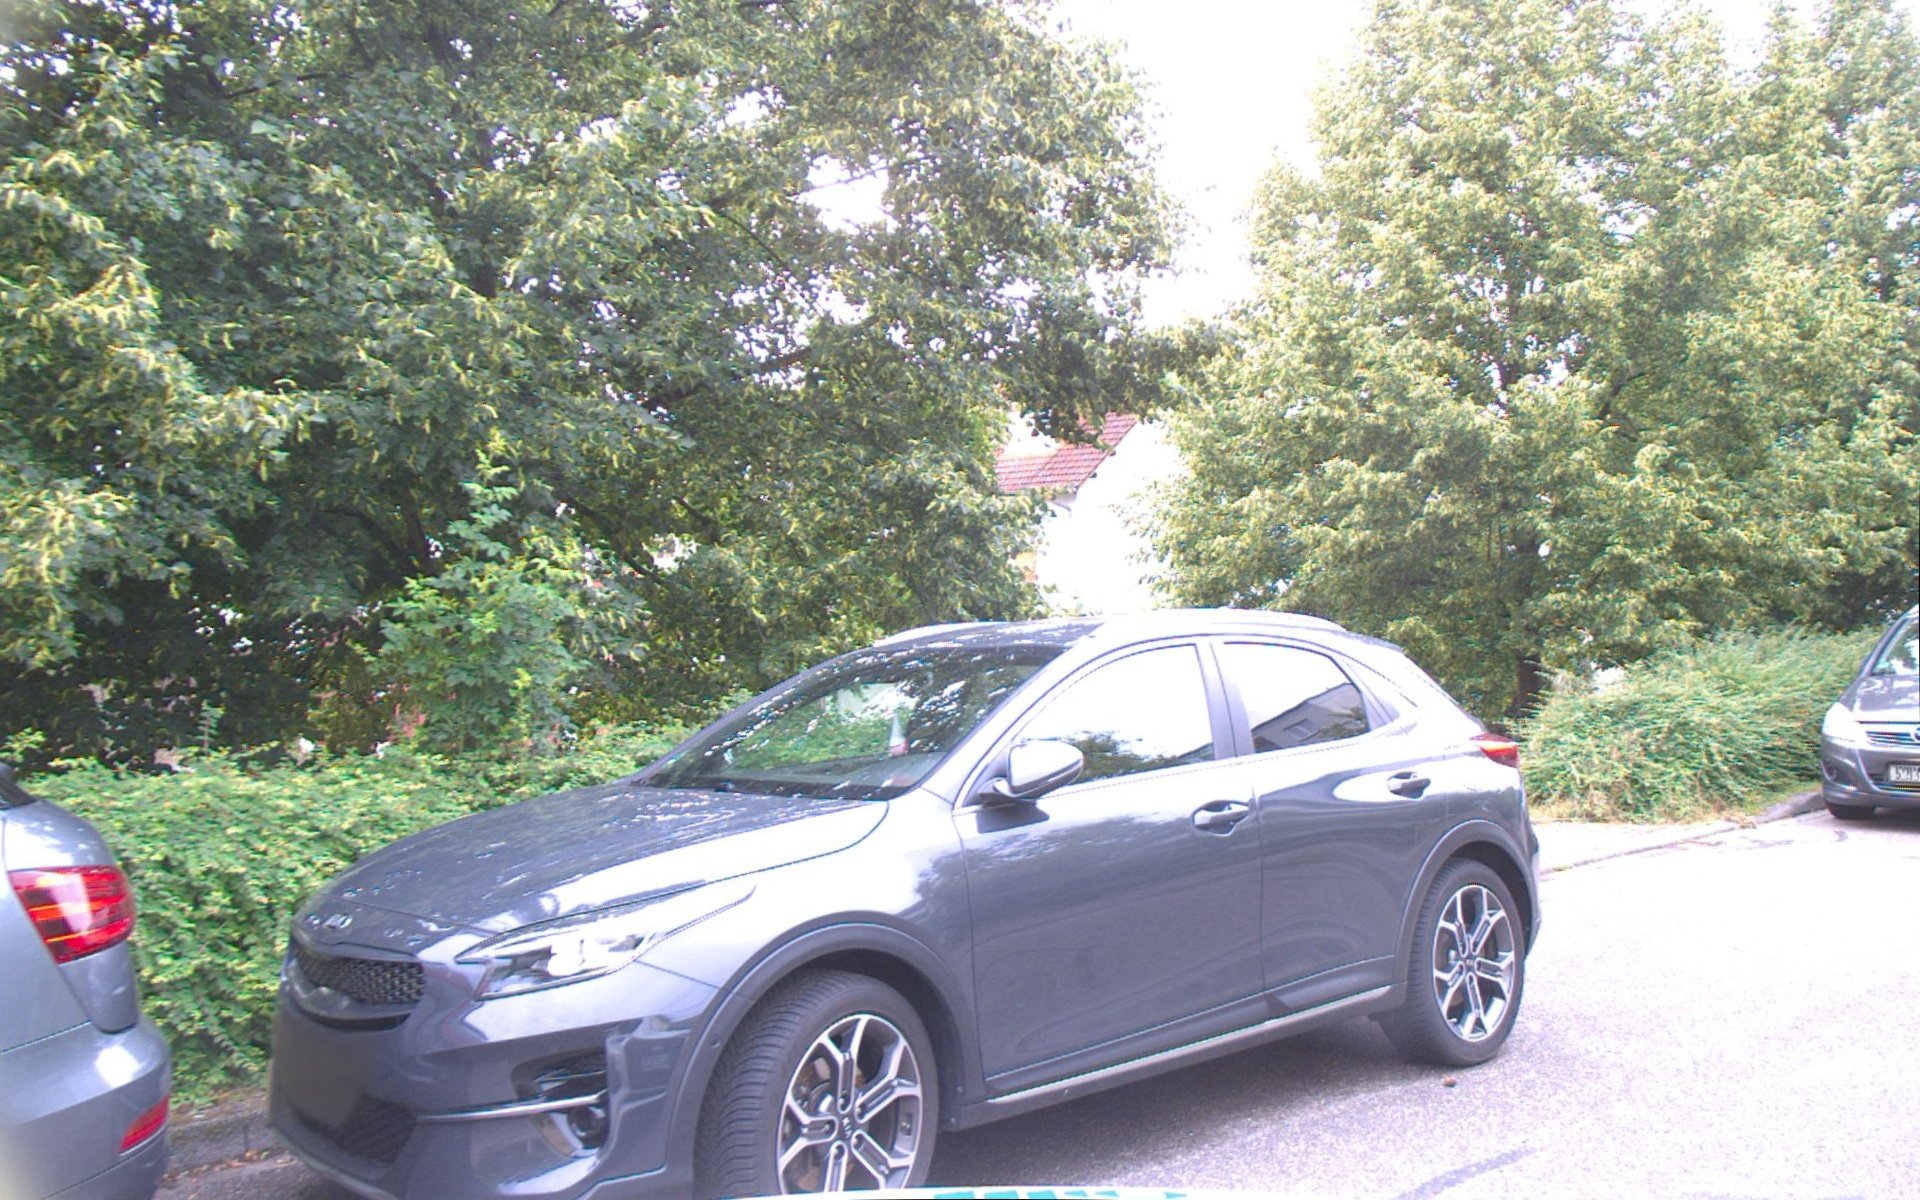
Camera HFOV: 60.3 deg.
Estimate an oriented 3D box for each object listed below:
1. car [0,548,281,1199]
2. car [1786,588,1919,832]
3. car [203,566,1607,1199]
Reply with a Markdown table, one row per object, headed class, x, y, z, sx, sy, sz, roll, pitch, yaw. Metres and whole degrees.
| class | x | y | z | sx | sy | sz | roll | pitch | yaw |
| --- | --- | --- | --- | --- | --- | --- | --- | --- | --- |
| car | -3.260 | 0.727 | 1.984 | 1.718 | 1.558 | 4.221 | -3 | -2 | 44 |
| car | 8.055 | 0.722 | 12.515 | 4.516 | 1.621 | 1.735 | 0 | -2 | -43 |
| car | 0.124 | 0.741 | 5.075 | 4.157 | 1.558 | 1.721 | 0 | -2 | -41 |
